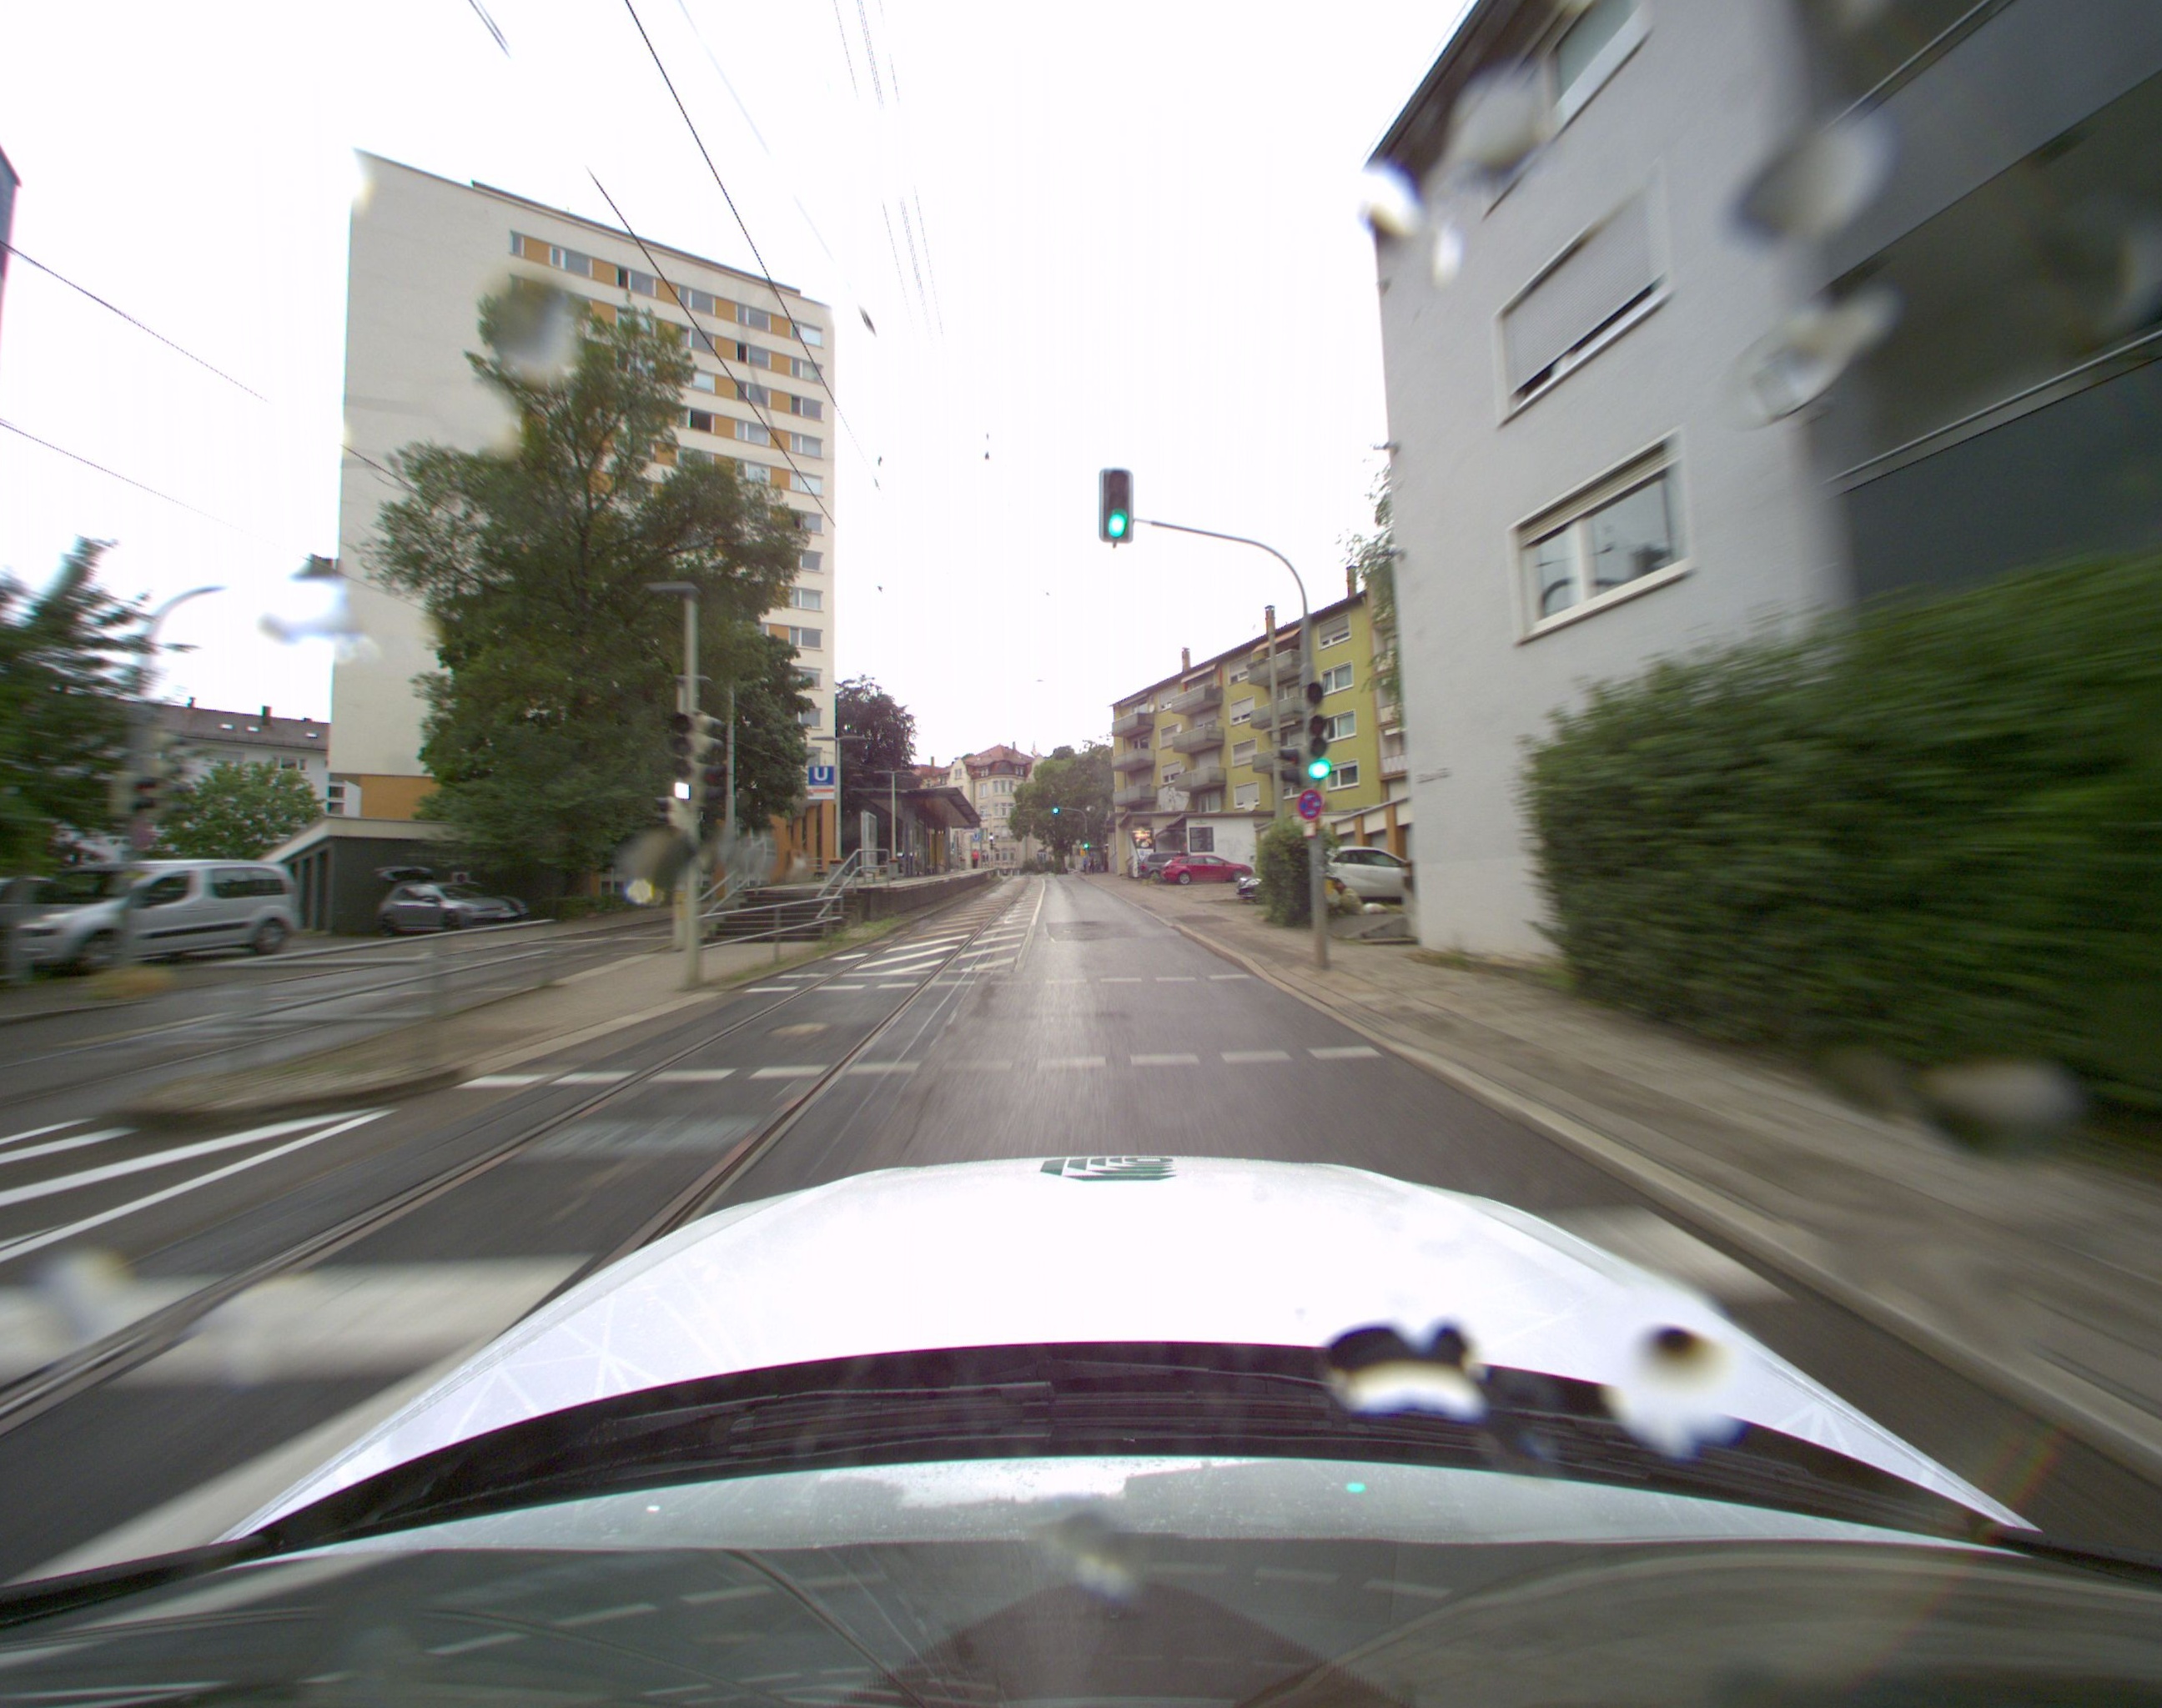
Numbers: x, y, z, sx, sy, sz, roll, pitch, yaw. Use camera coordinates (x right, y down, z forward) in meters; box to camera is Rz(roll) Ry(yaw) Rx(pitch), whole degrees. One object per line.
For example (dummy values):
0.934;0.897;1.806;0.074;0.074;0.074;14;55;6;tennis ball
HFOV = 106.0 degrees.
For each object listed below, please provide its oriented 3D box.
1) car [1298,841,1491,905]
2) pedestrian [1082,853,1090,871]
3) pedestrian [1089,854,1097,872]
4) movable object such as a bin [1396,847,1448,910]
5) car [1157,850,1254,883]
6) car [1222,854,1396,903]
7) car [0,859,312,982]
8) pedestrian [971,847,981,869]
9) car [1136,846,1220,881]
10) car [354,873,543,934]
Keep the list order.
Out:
7.467;0.441;19.615;3.984;1.467;1.812;0;-1;-8;car
0.442;0.716;71.089;0.587;1.554;0.649;-3;0;-4;pedestrian
1.079;0.793;71.904;0.545;1.554;0.558;-3;0;-5;pedestrian
6.308;0.444;15.092;0.535;1.140;0.697;-1;0;-18;movable object such as a bin
6.236;0.634;41.112;4.559;1.437;1.763;-3;-1;-4;car
7.095;0.744;25.679;4.919;1.436;1.973;0;2;-3;car
-15.882;0.979;13.733;1.743;1.717;4.435;-2;0;-4;car
-7.572;0.264;58.701;0.669;1.548;0.770;-2;0;-4;pedestrian
5.283;0.516;44.688;4.315;1.674;1.780;-3;-1;-1;car
-17.651;1.374;22.761;4.443;1.542;1.954;-2;0;17;car
